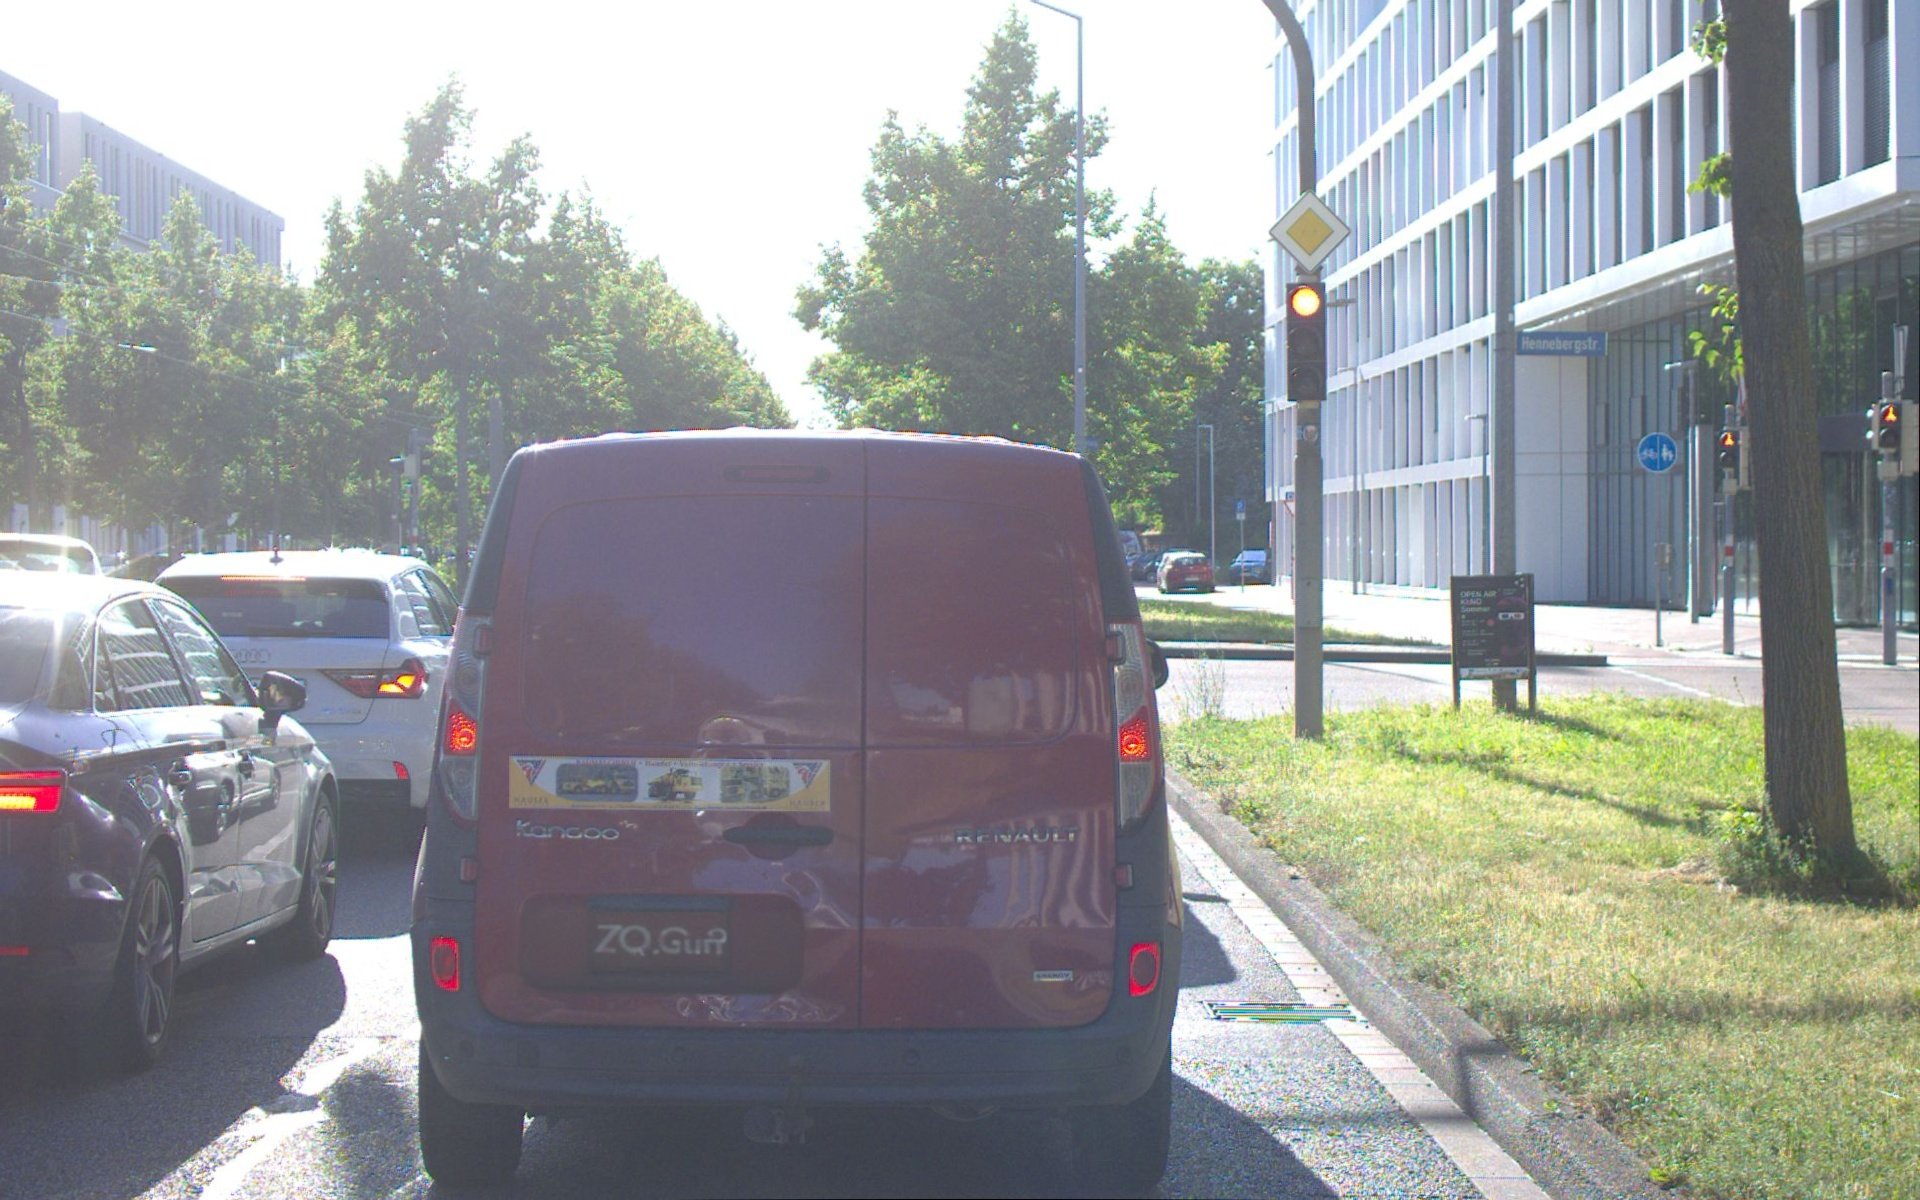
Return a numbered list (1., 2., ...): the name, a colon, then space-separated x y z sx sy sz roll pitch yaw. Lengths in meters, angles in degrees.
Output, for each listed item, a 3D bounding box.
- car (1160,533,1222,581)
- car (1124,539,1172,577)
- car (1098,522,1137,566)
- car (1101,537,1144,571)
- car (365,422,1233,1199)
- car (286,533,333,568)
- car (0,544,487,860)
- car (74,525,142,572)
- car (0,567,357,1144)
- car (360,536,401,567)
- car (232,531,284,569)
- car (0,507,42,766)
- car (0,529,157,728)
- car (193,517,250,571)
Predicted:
1. car: 8.575 -1.606 127.914 1.993 1.776 4.000 0 1 -1
2. car: 8.779 -1.978 160.630 1.993 1.776 4.000 0 1 -1
3. car: 9.065 -3.241 198.337 1.993 2.488 4.987 0 1 -1
4. car: 8.480 -2.410 179.828 1.993 1.776 4.000 0 1 -1
5. car: -0.368 0.473 9.318 1.842 1.774 4.000 0 1 -1
6. car: -37.685 -2.868 199.234 1.993 2.007 4.000 0 1 -1
7. car: -3.567 0.433 17.587 1.803 1.421 3.901 0 1 -1
8. car: -36.983 -2.263 149.332 1.993 2.007 4.000 0 1 -1
9. car: -3.185 0.628 10.882 1.842 1.421 4.339 0 1 -1
10. car: -37.556 -3.137 222.875 1.993 2.007 4.000 0 1 -1
11. car: -37.233 -2.656 182.419 1.993 2.007 4.000 0 1 -1
12. car: -6.212 0.245 17.974 1.799 1.442 4.570 2 2 -3
13. car: -7.985 0.172 29.291 1.798 1.478 4.570 3 1 -9
14. car: -36.139 -2.747 168.360 1.993 2.598 4.000 0 1 -1
